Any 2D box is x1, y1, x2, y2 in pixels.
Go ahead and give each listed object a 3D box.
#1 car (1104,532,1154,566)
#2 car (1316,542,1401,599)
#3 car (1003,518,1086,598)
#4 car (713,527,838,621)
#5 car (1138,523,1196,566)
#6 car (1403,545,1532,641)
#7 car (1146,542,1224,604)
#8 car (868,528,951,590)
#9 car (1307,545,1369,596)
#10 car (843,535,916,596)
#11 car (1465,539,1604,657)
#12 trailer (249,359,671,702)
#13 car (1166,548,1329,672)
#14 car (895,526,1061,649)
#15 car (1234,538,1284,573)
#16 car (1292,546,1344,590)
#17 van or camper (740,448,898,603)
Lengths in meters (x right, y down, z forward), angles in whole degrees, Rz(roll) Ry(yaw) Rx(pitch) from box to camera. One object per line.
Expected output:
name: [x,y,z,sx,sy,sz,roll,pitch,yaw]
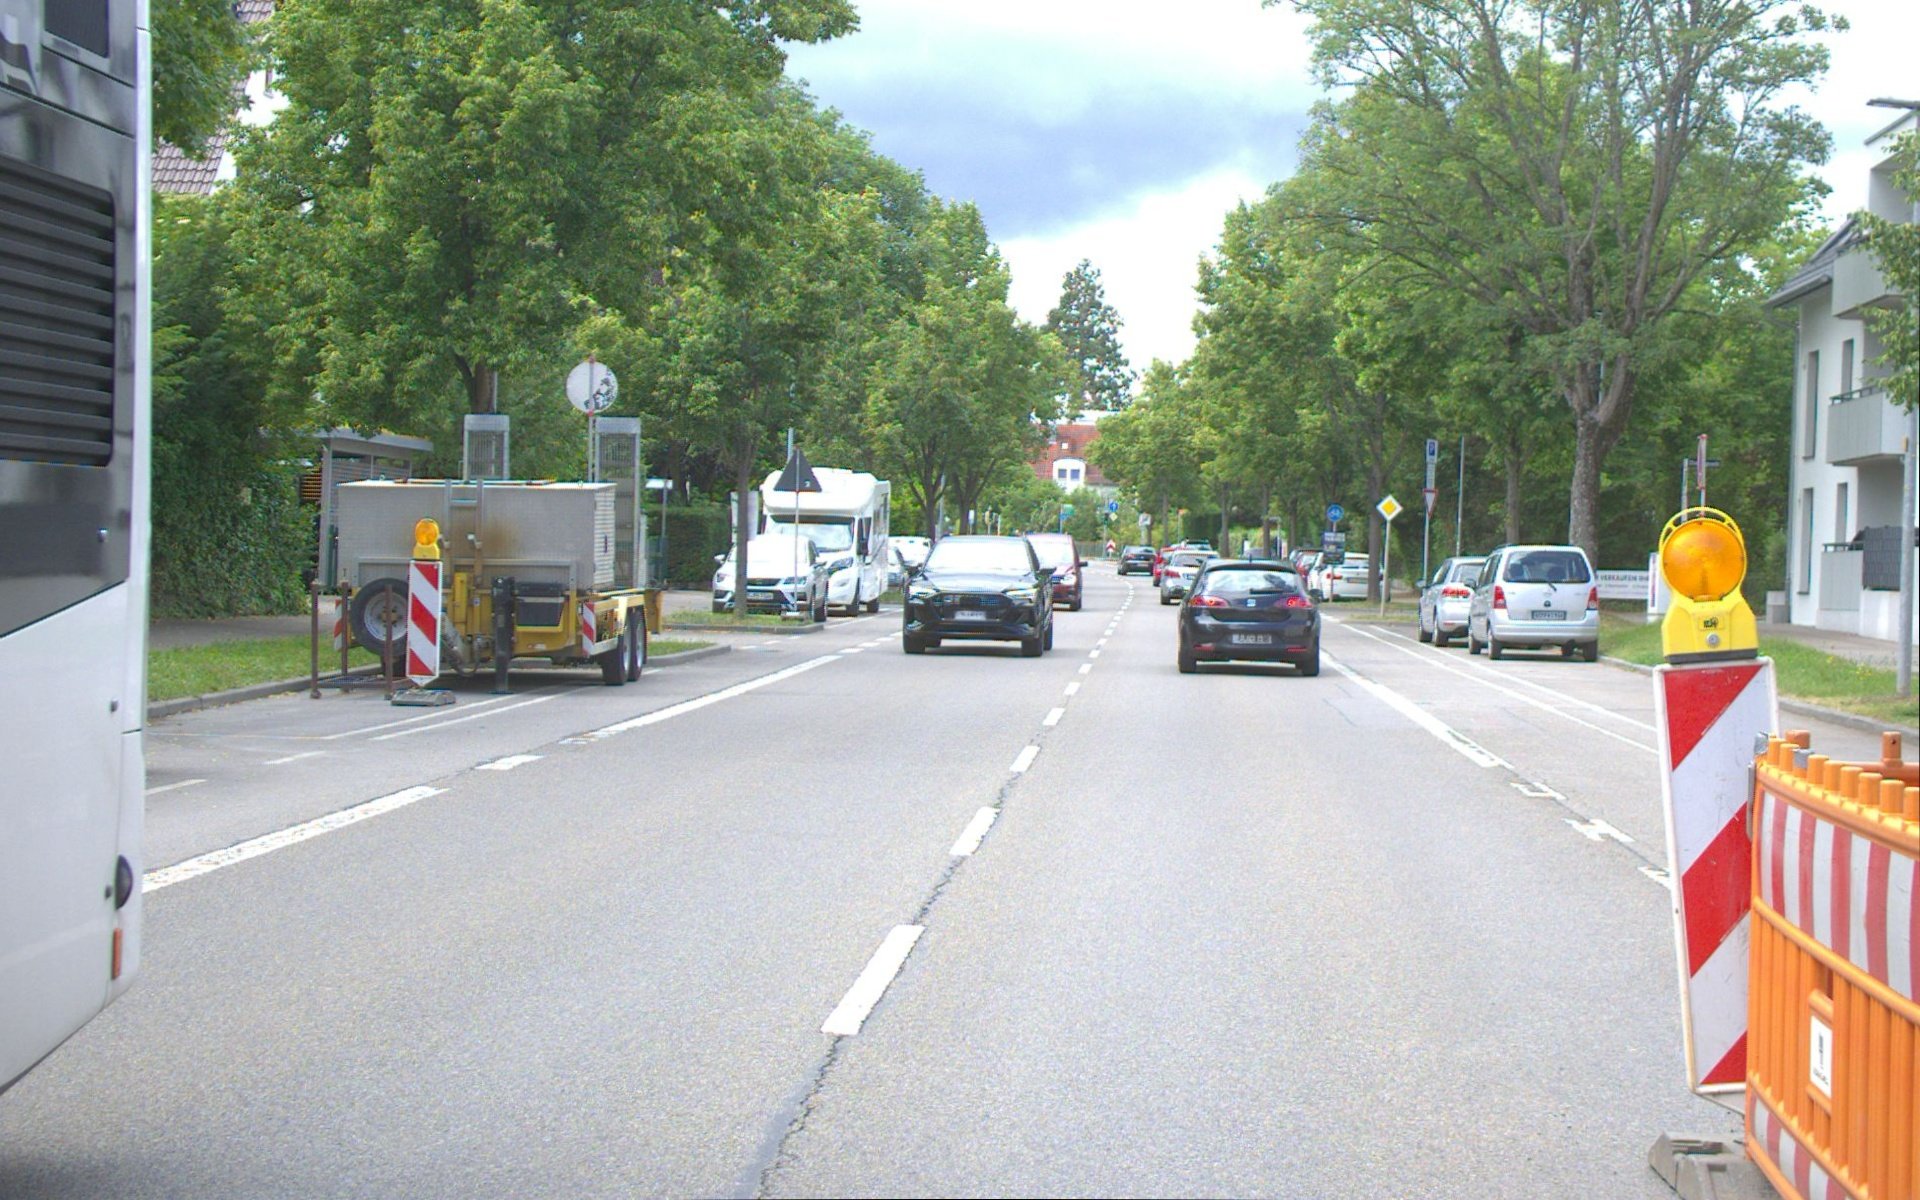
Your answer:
car: [7.915,-2.407,161.641,1.993,1.503,4.000,2,0,-2]
car: [10.950,-0.832,94.664,2.021,1.438,5.024,2,1,4]
car: [2.014,-0.999,80.882,1.760,1.797,4.768,1,1,3]
car: [-3.324,-0.498,62.653,1.723,1.595,4.272,2,1,4]
car: [7.705,-2.082,128.083,1.993,1.525,4.000,1,1,2]
car: [8.362,-0.142,56.891,1.687,1.488,4.227,1,1,3]
car: [6.032,-0.739,91.852,1.994,1.552,4.000,2,1,4]
car: [-1.394,-1.165,97.433,1.817,1.646,4.698,2,1,5]
car: [11.309,-0.893,103.066,1.616,1.455,3.657,1,1,3]
car: [-2.027,-0.895,87.641,1.555,1.465,4.452,2,1,2]
car: [8.508,-0.060,51.160,1.633,1.660,3.647,1,1,4]
trailer: [-4.737,-0.641,34.128,2.674,2.931,7.475,2,0,3]
car: [3.575,0.094,43.246,1.783,1.444,3.558,2,1,1]
car: [0.306,-0.202,48.782,1.994,1.662,4.588,0,1,5]
car: [13.021,-1.945,149.945,1.683,1.427,4.045,1,1,-2]
car: [11.957,-1.071,114.943,1.638,1.415,3.999,1,1,5]
van or camper: [-2.846,-1.527,71.636,2.435,2.999,7.692,1,1,4]
